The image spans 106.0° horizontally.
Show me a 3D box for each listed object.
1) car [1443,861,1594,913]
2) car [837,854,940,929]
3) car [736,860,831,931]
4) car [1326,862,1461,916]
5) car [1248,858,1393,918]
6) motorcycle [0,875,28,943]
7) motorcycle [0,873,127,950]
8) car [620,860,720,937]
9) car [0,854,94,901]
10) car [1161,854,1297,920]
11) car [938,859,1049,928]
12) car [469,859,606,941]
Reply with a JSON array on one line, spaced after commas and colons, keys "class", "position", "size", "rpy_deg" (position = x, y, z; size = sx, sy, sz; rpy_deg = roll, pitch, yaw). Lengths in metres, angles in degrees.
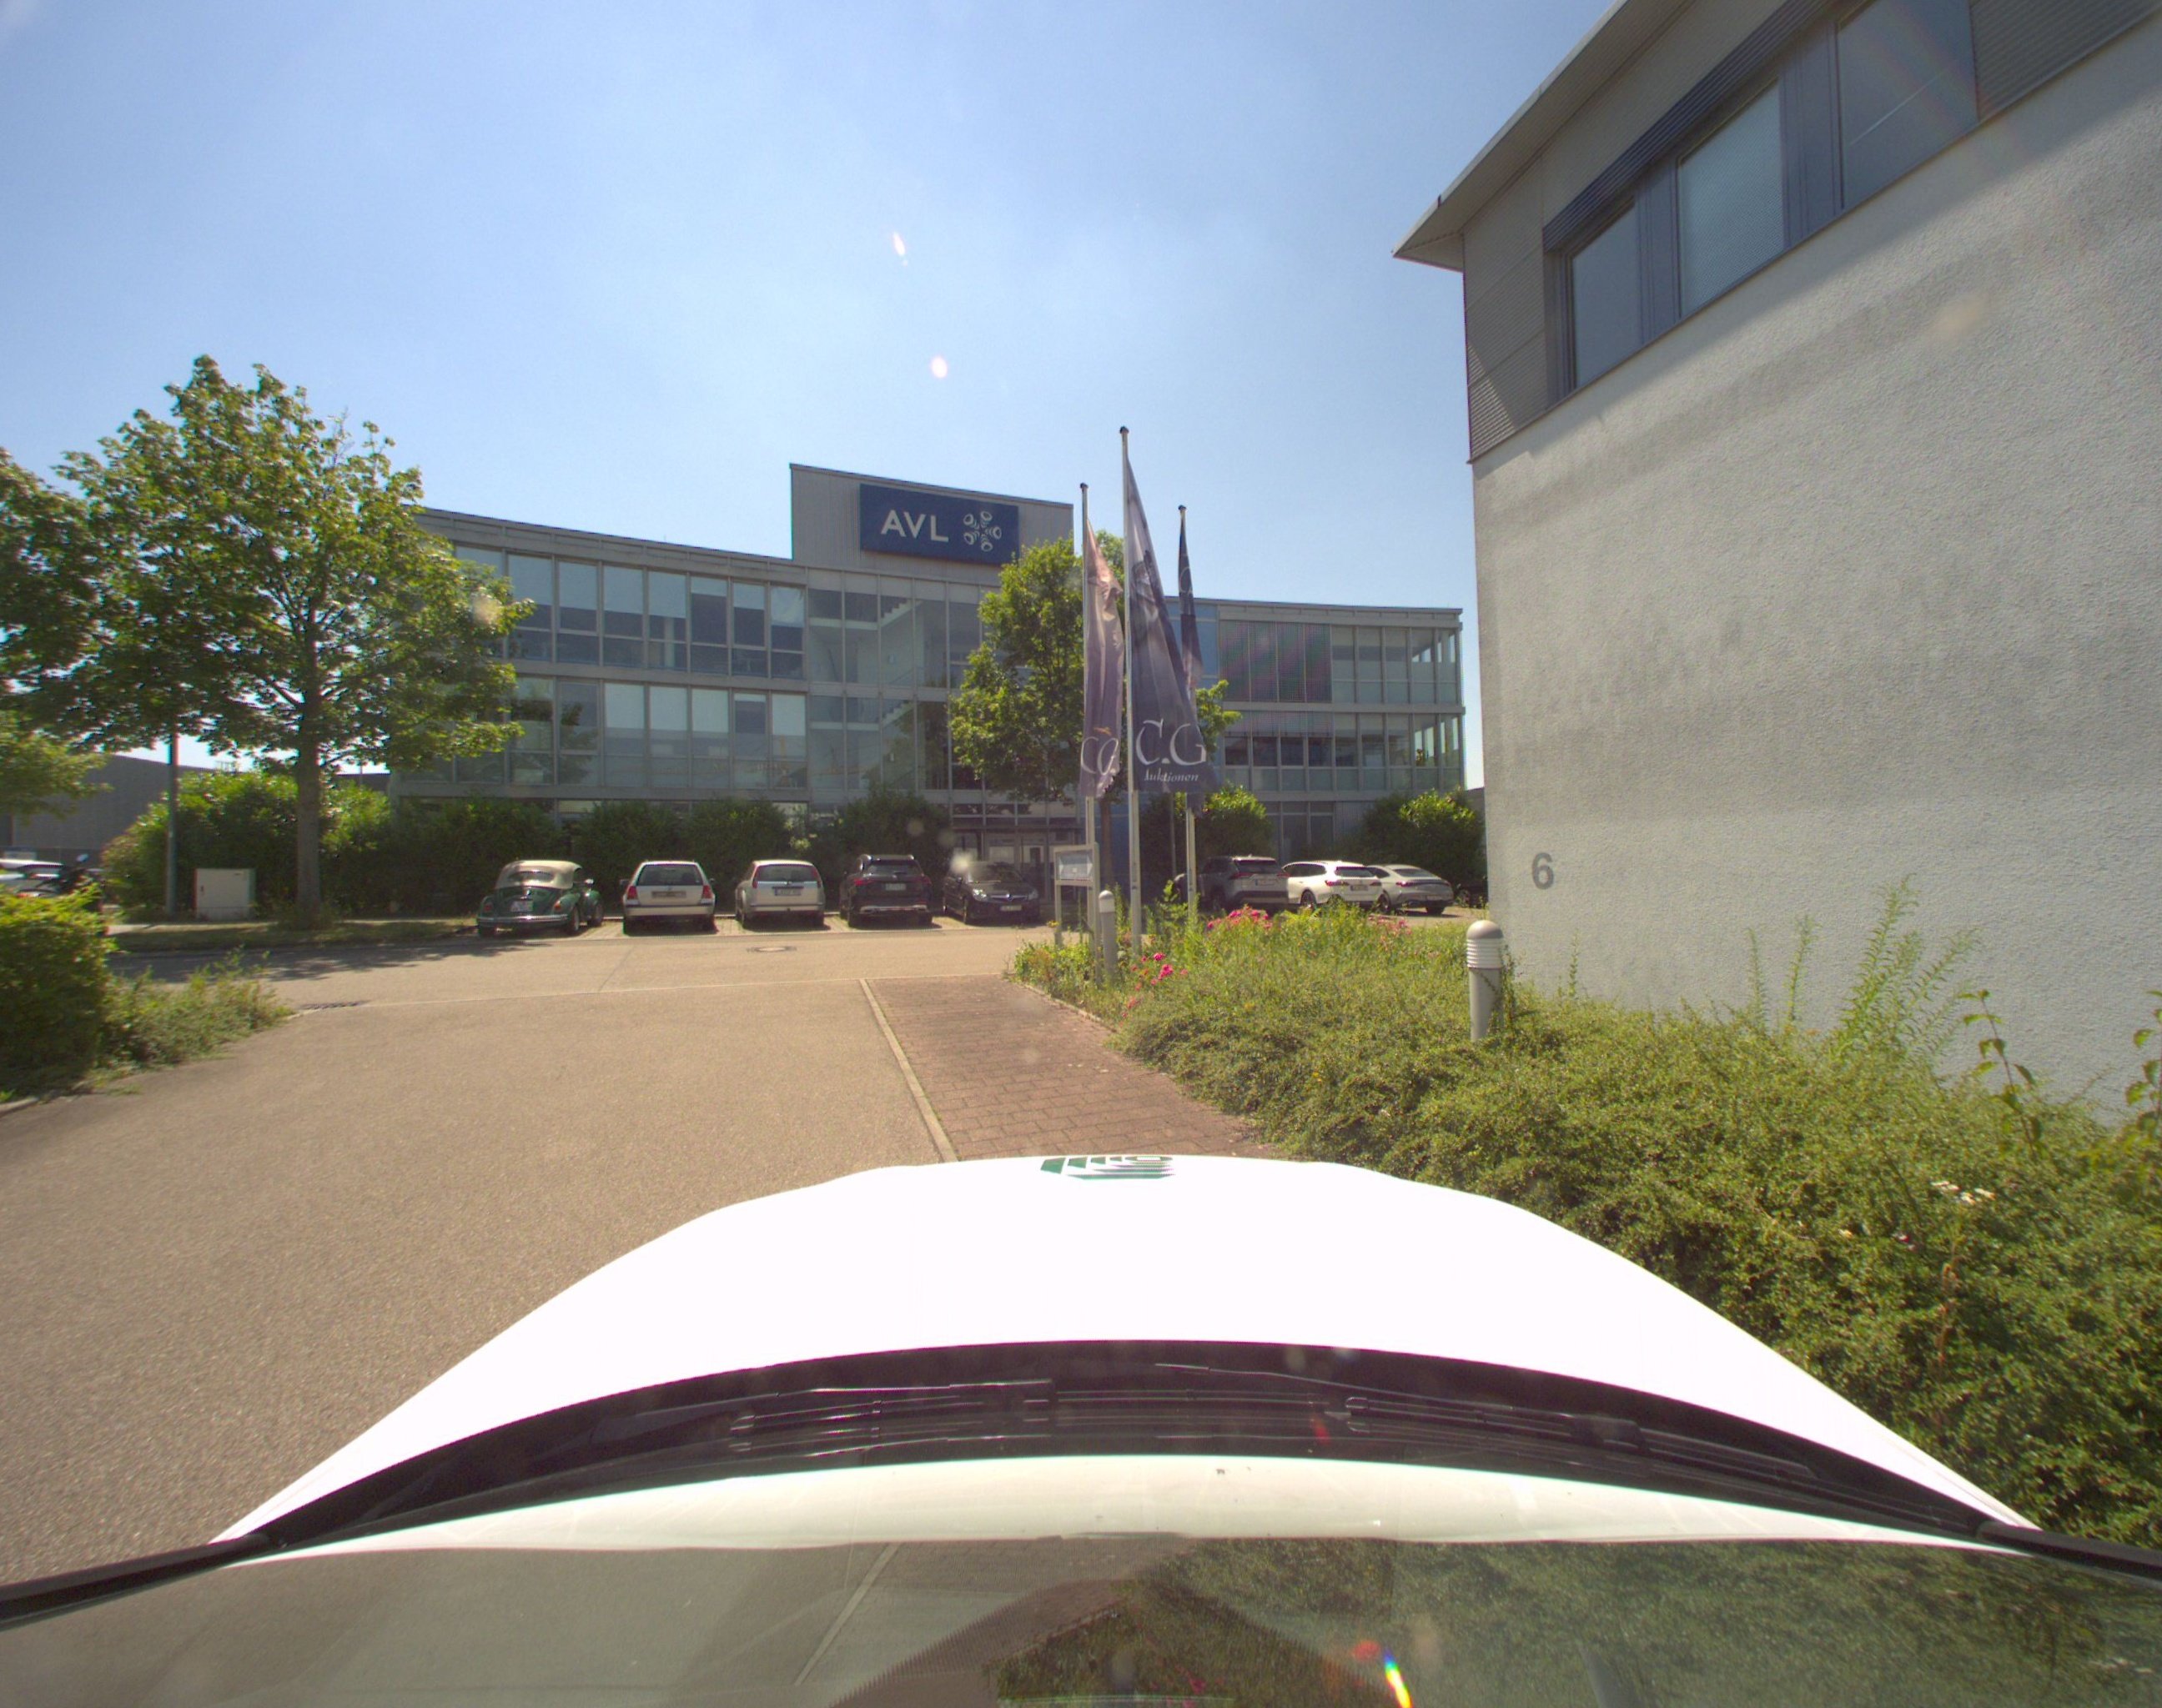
[{"class": "car", "position": [13.540, 0.969, 25.564], "size": [1.736, 1.447, 4.531], "rpy_deg": [1, 0, -11]}, {"class": "car", "position": [-4.759, 0.812, 19.705], "size": [1.934, 1.611, 3.959], "rpy_deg": [1, 0, -21]}, {"class": "car", "position": [-7.035, 0.890, 19.039], "size": [1.774, 1.449, 3.624], "rpy_deg": [1, 0, -25]}, {"class": "car", "position": [9.153, 0.975, 24.266], "size": [1.736, 1.429, 4.323], "rpy_deg": [1, 0, -11]}, {"class": "car", "position": [6.705, 0.896, 23.312], "size": [1.742, 1.492, 4.309], "rpy_deg": [1, 0, -21]}, {"class": "motorcycle", "position": [-18.421, 0.940, 13.205], "size": [0.715, 1.138, 1.944], "rpy_deg": [0, 0, -20]}, {"class": "motorcycle", "position": [-17.222, 0.925, 13.646], "size": [0.715, 1.138, 1.944], "rpy_deg": [0, 0, -20]}, {"class": "car", "position": [-8.844, 0.878, 17.702], "size": [1.740, 1.449, 3.624], "rpy_deg": [1, 0, -25]}, {"class": "car", "position": [-35.860, 0.735, 26.429], "size": [4.832, 1.491, 1.996], "rpy_deg": [0, 0, -6]}, {"class": "car", "position": [4.033, 0.837, 22.959], "size": [1.826, 1.619, 4.309], "rpy_deg": [-1, 0, -21]}, {"class": "car", "position": [-2.317, 0.889, 20.454], "size": [1.776, 1.482, 4.229], "rpy_deg": [-1, 0, -21]}, {"class": "car", "position": [-10.935, 0.851, 16.636], "size": [1.547, 1.449, 3.628], "rpy_deg": [1, 0, -21]}]
